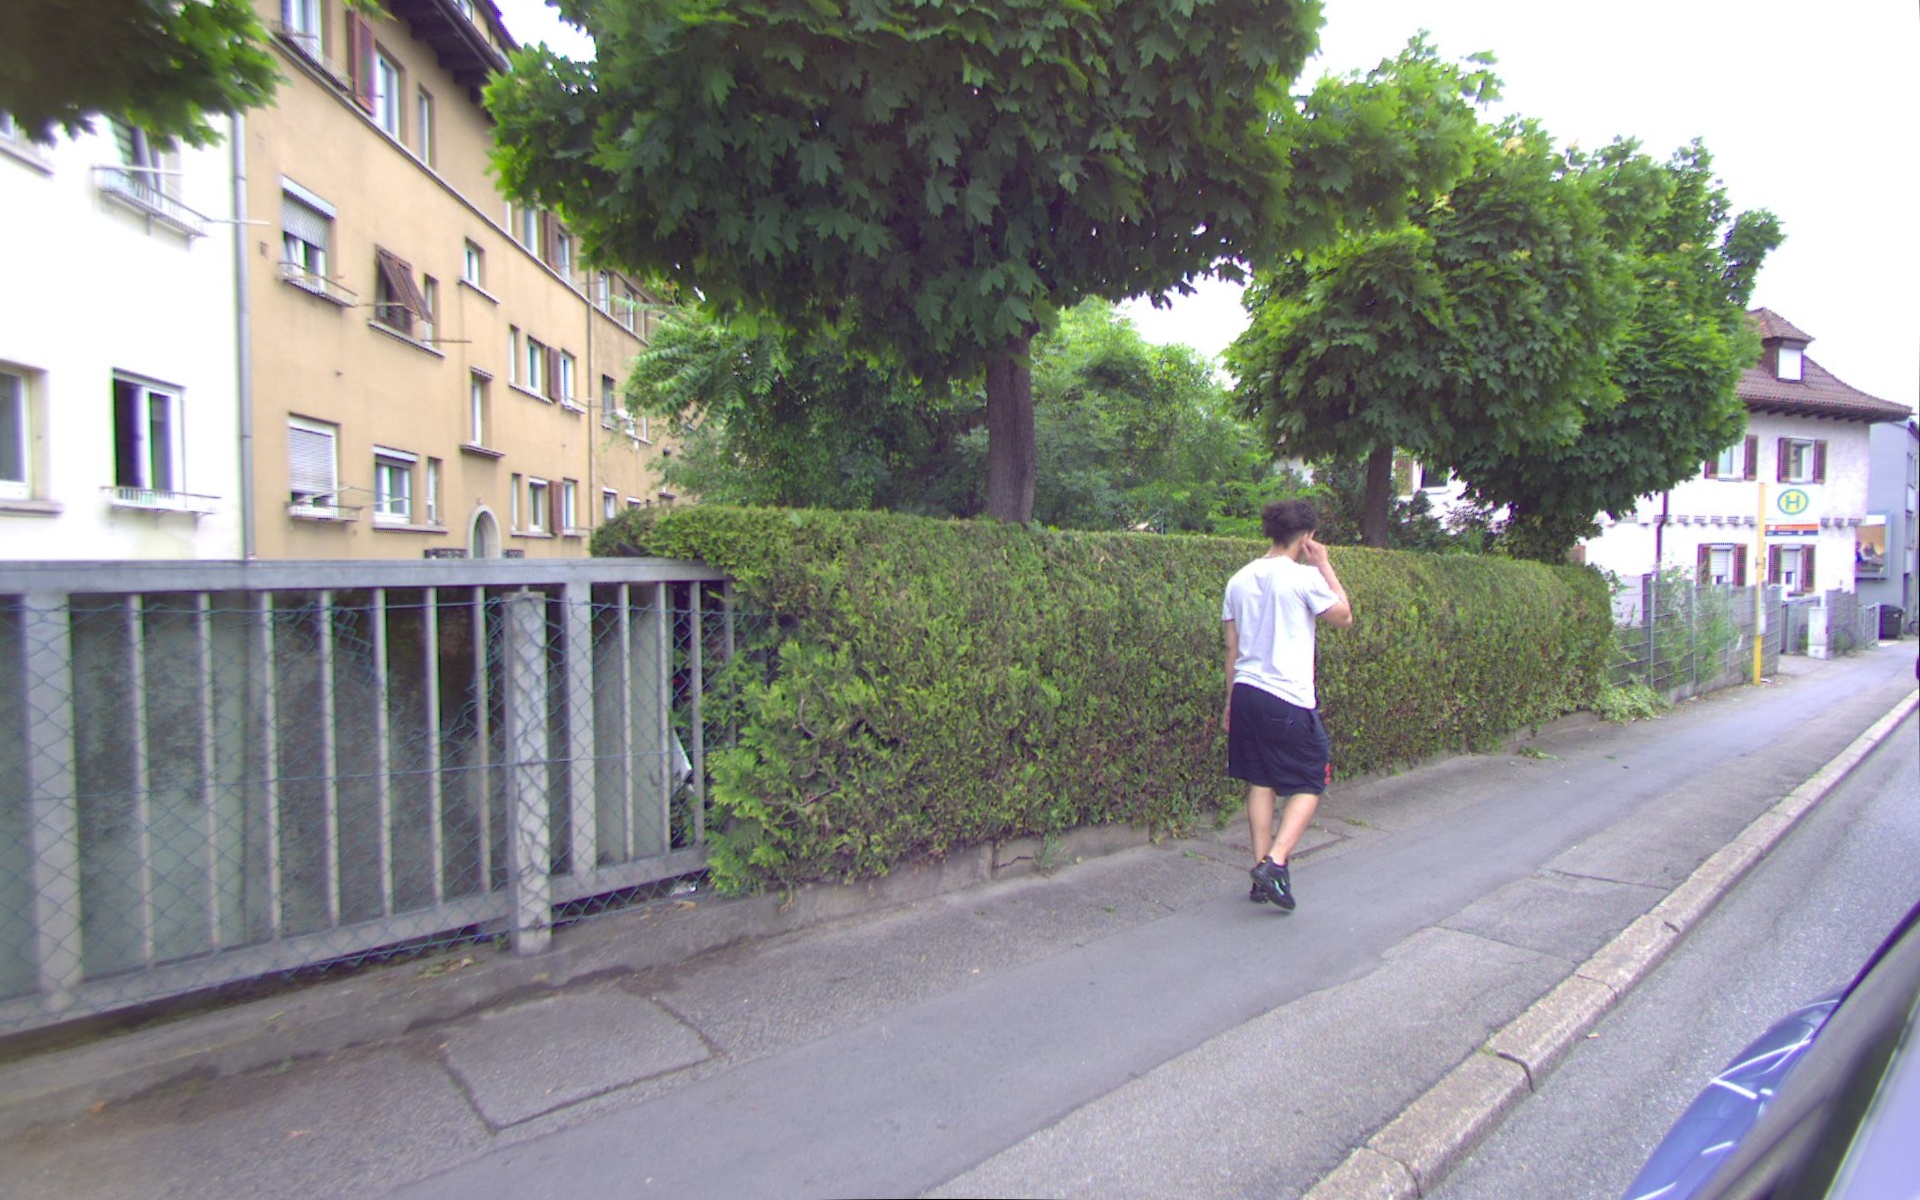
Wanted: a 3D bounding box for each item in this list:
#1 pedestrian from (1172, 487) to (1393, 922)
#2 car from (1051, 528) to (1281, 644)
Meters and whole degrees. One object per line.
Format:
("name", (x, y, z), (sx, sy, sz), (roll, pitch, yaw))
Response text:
("pedestrian", (1.406, 0.399, 4.469), (0.459, 1.758, 0.695), (0, 4, -42))
("car", (3.833, -0.278, 19.383), (3.923, 2.039, 2.001), (1, 1, -1))
